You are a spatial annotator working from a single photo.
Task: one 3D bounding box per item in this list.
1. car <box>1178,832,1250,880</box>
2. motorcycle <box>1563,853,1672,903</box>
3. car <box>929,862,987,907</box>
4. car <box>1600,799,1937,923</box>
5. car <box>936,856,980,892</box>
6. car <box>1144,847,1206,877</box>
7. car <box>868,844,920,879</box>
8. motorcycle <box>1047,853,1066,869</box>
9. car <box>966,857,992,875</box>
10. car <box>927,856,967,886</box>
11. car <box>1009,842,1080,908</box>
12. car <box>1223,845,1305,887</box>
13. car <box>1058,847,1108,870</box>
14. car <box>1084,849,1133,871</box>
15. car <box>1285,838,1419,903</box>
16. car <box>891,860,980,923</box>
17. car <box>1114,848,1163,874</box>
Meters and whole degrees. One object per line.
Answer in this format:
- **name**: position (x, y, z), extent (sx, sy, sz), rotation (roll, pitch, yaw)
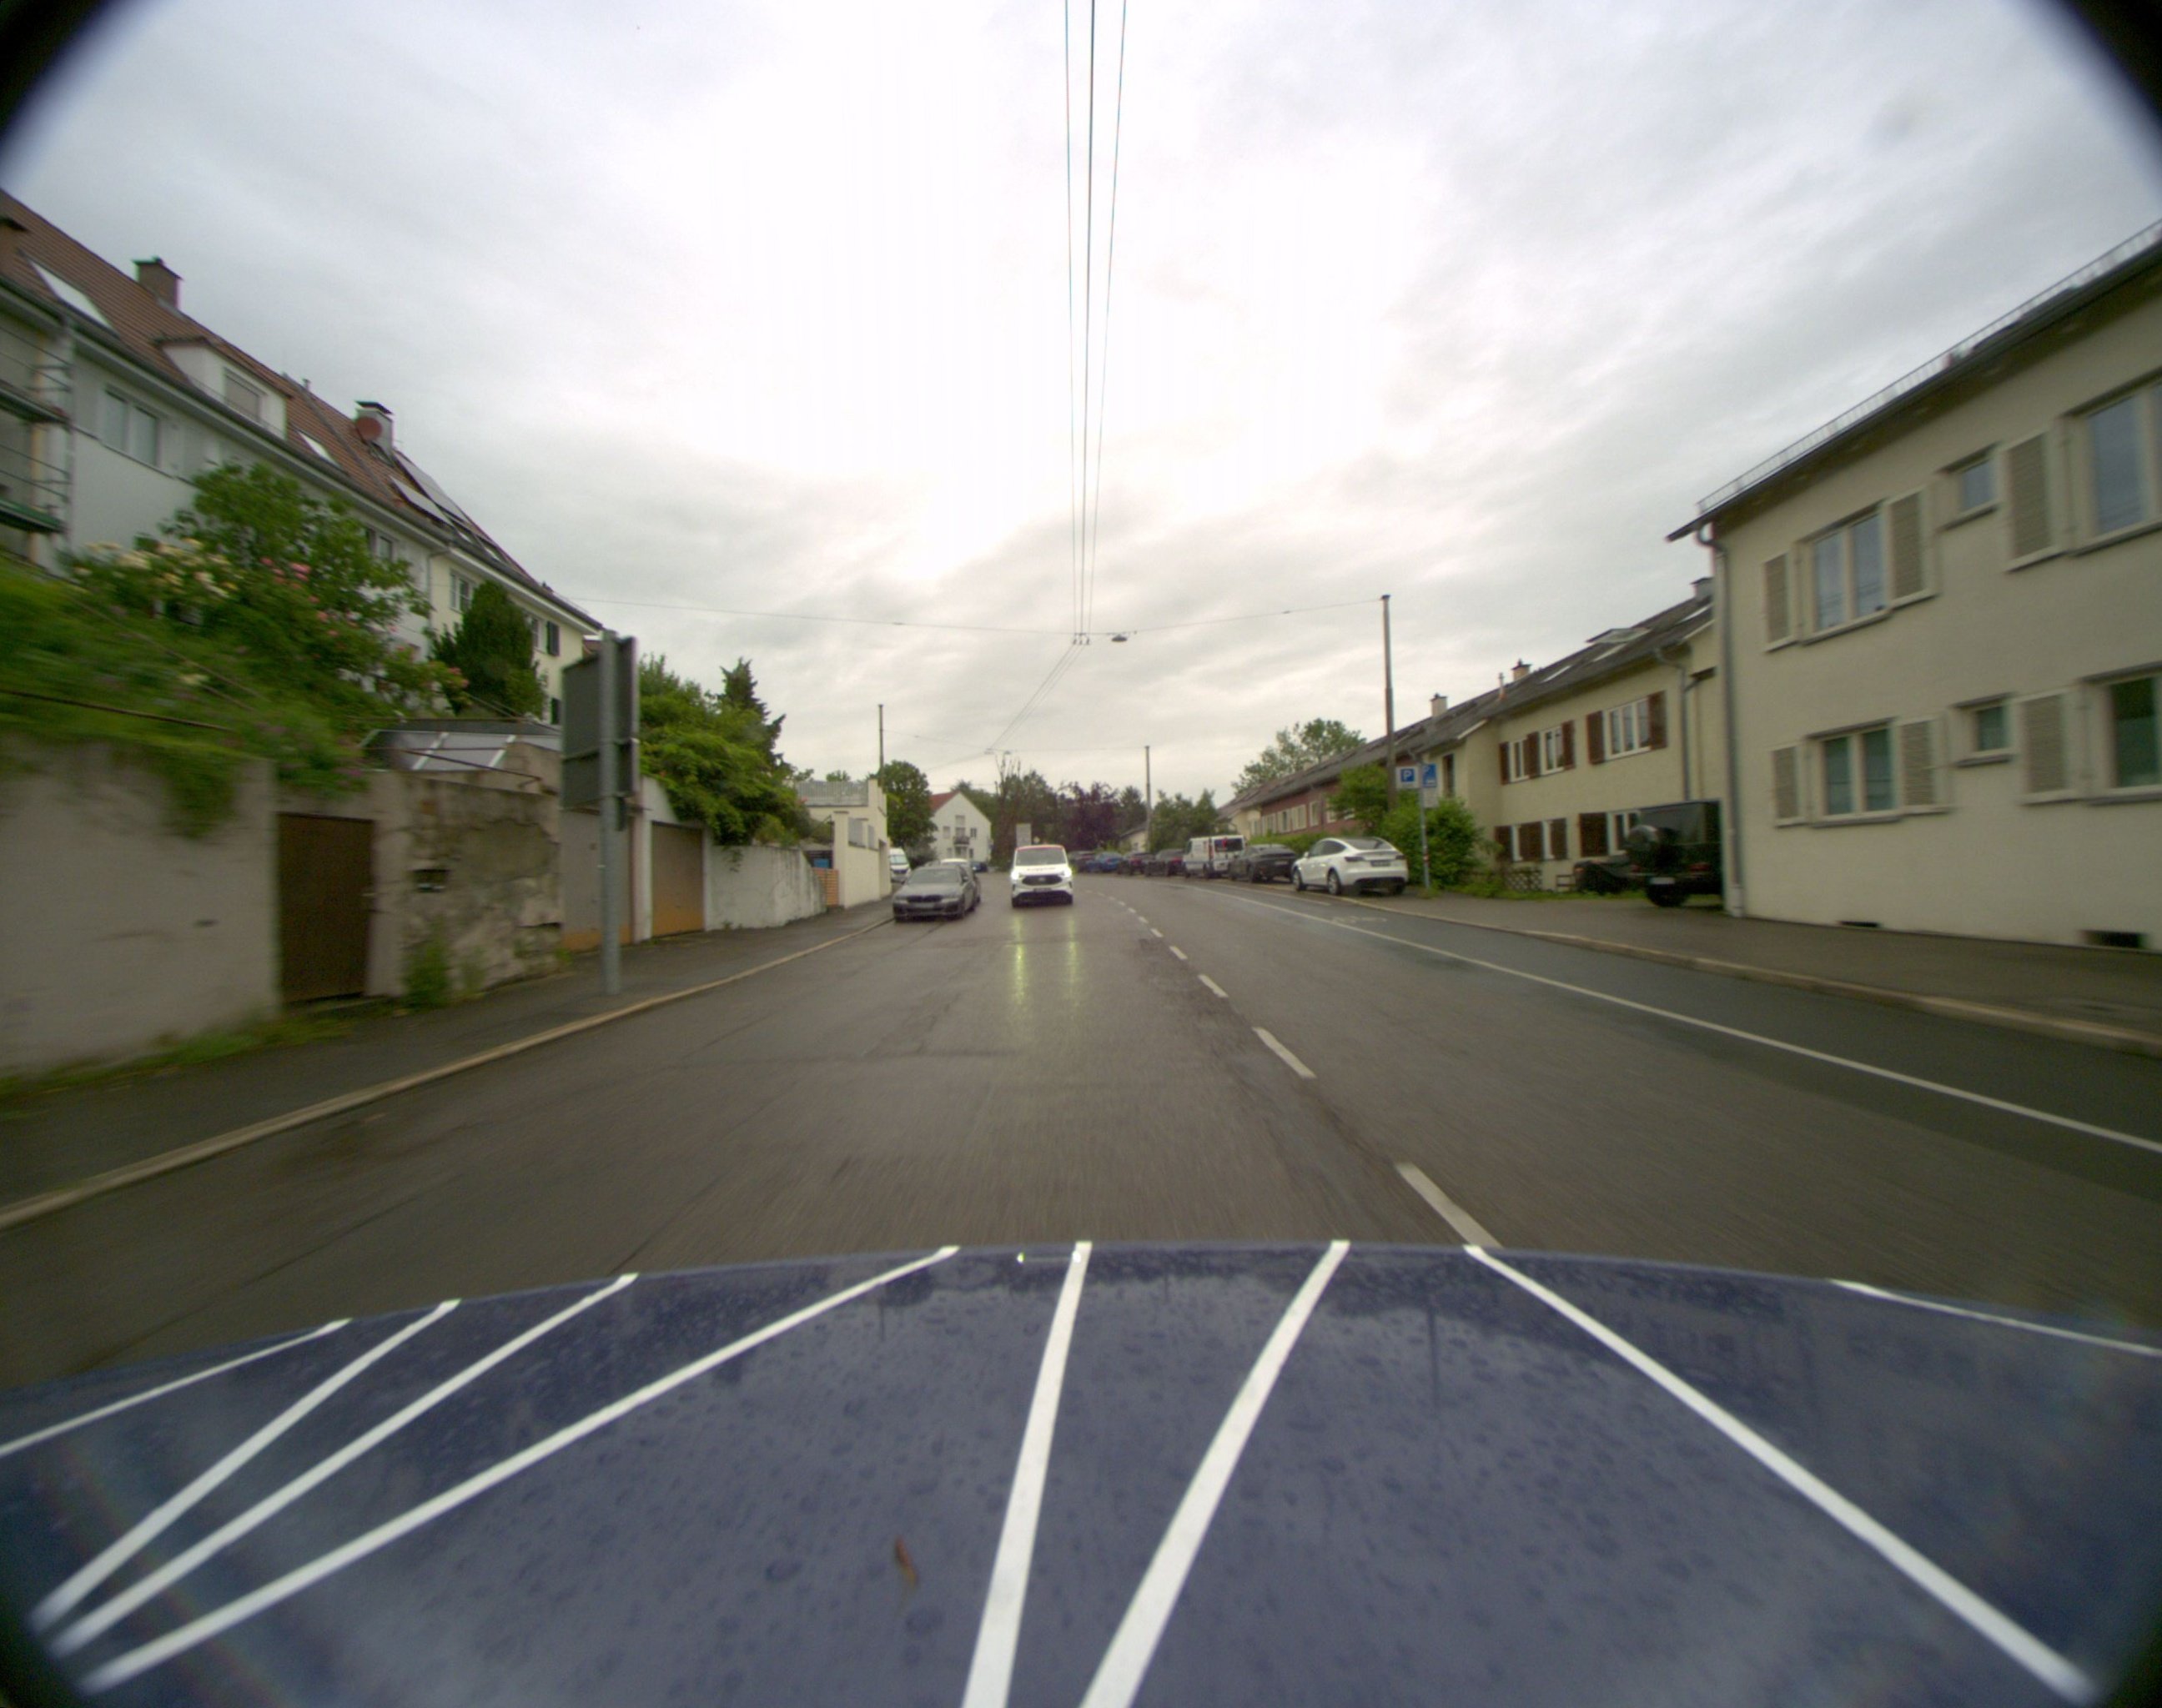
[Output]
- **car**: position (6.244, 0.075, 36.369), extent (1.854, 2.067, 5.016), rotation (-2, 1, -8)
- **motorcycle**: position (13.317, 0.579, 18.907), extent (2.098, 1.128, 0.839), rotation (-2, 3, 3)
- **car**: position (-4.345, 1.049, 27.392), extent (1.646, 1.428, 4.172), rotation (-2, 0, -4)
- **car**: position (12.307, 0.124, 13.798), extent (4.501, 2.001, 1.887), rotation (-1, 0, -3)
- **car**: position (-6.178, 0.943, 37.844), extent (1.810, 1.639, 4.205), rotation (-2, 1, -13)
- **car**: position (5.046, 0.393, 41.544), extent (1.815, 1.468, 4.516), rotation (-2, 1, -14)
- **car**: position (-14.115, 0.513, 57.064), extent (2.109, 2.527, 5.605), rotation (1, 1, -32)
- **motorcycle**: position (-1.956, 0.553, 61.341), extent (0.574, 1.264, 1.910), rotation (-2, 1, 32)
- **car**: position (-10.618, 1.202, 79.253), extent (1.840, 1.656, 3.943), rotation (2, 1, 5)
- **car**: position (-7.696, 0.928, 43.355), extent (1.685, 1.475, 4.194), rotation (-2, 1, -17)
- **car**: position (-1.332, 0.665, 25.750), extent (2.043, 1.927, 4.513), rotation (-3, 0, -6)
- **car**: position (7.165, 0.427, 30.263), extent (1.813, 1.468, 4.520), rotation (-2, 1, -5)
- **car**: position (0.086, 0.360, 57.069), extent (1.930, 1.568, 4.378), rotation (-3, 1, -26)
- **car**: position (1.866, 0.419, 52.419), extent (1.706, 1.396, 4.465), rotation (-3, 0, -21)
- **car**: position (7.671, 0.404, 22.070), extent (1.934, 1.622, 4.675), rotation (-2, 1, -4)
- **car**: position (-4.092, 0.988, 22.056), extent (1.794, 1.487, 4.704), rotation (-2, 1, -2)
- **car**: position (3.523, 0.422, 47.306), extent (1.814, 1.468, 4.517), rotation (-2, 1, -12)
